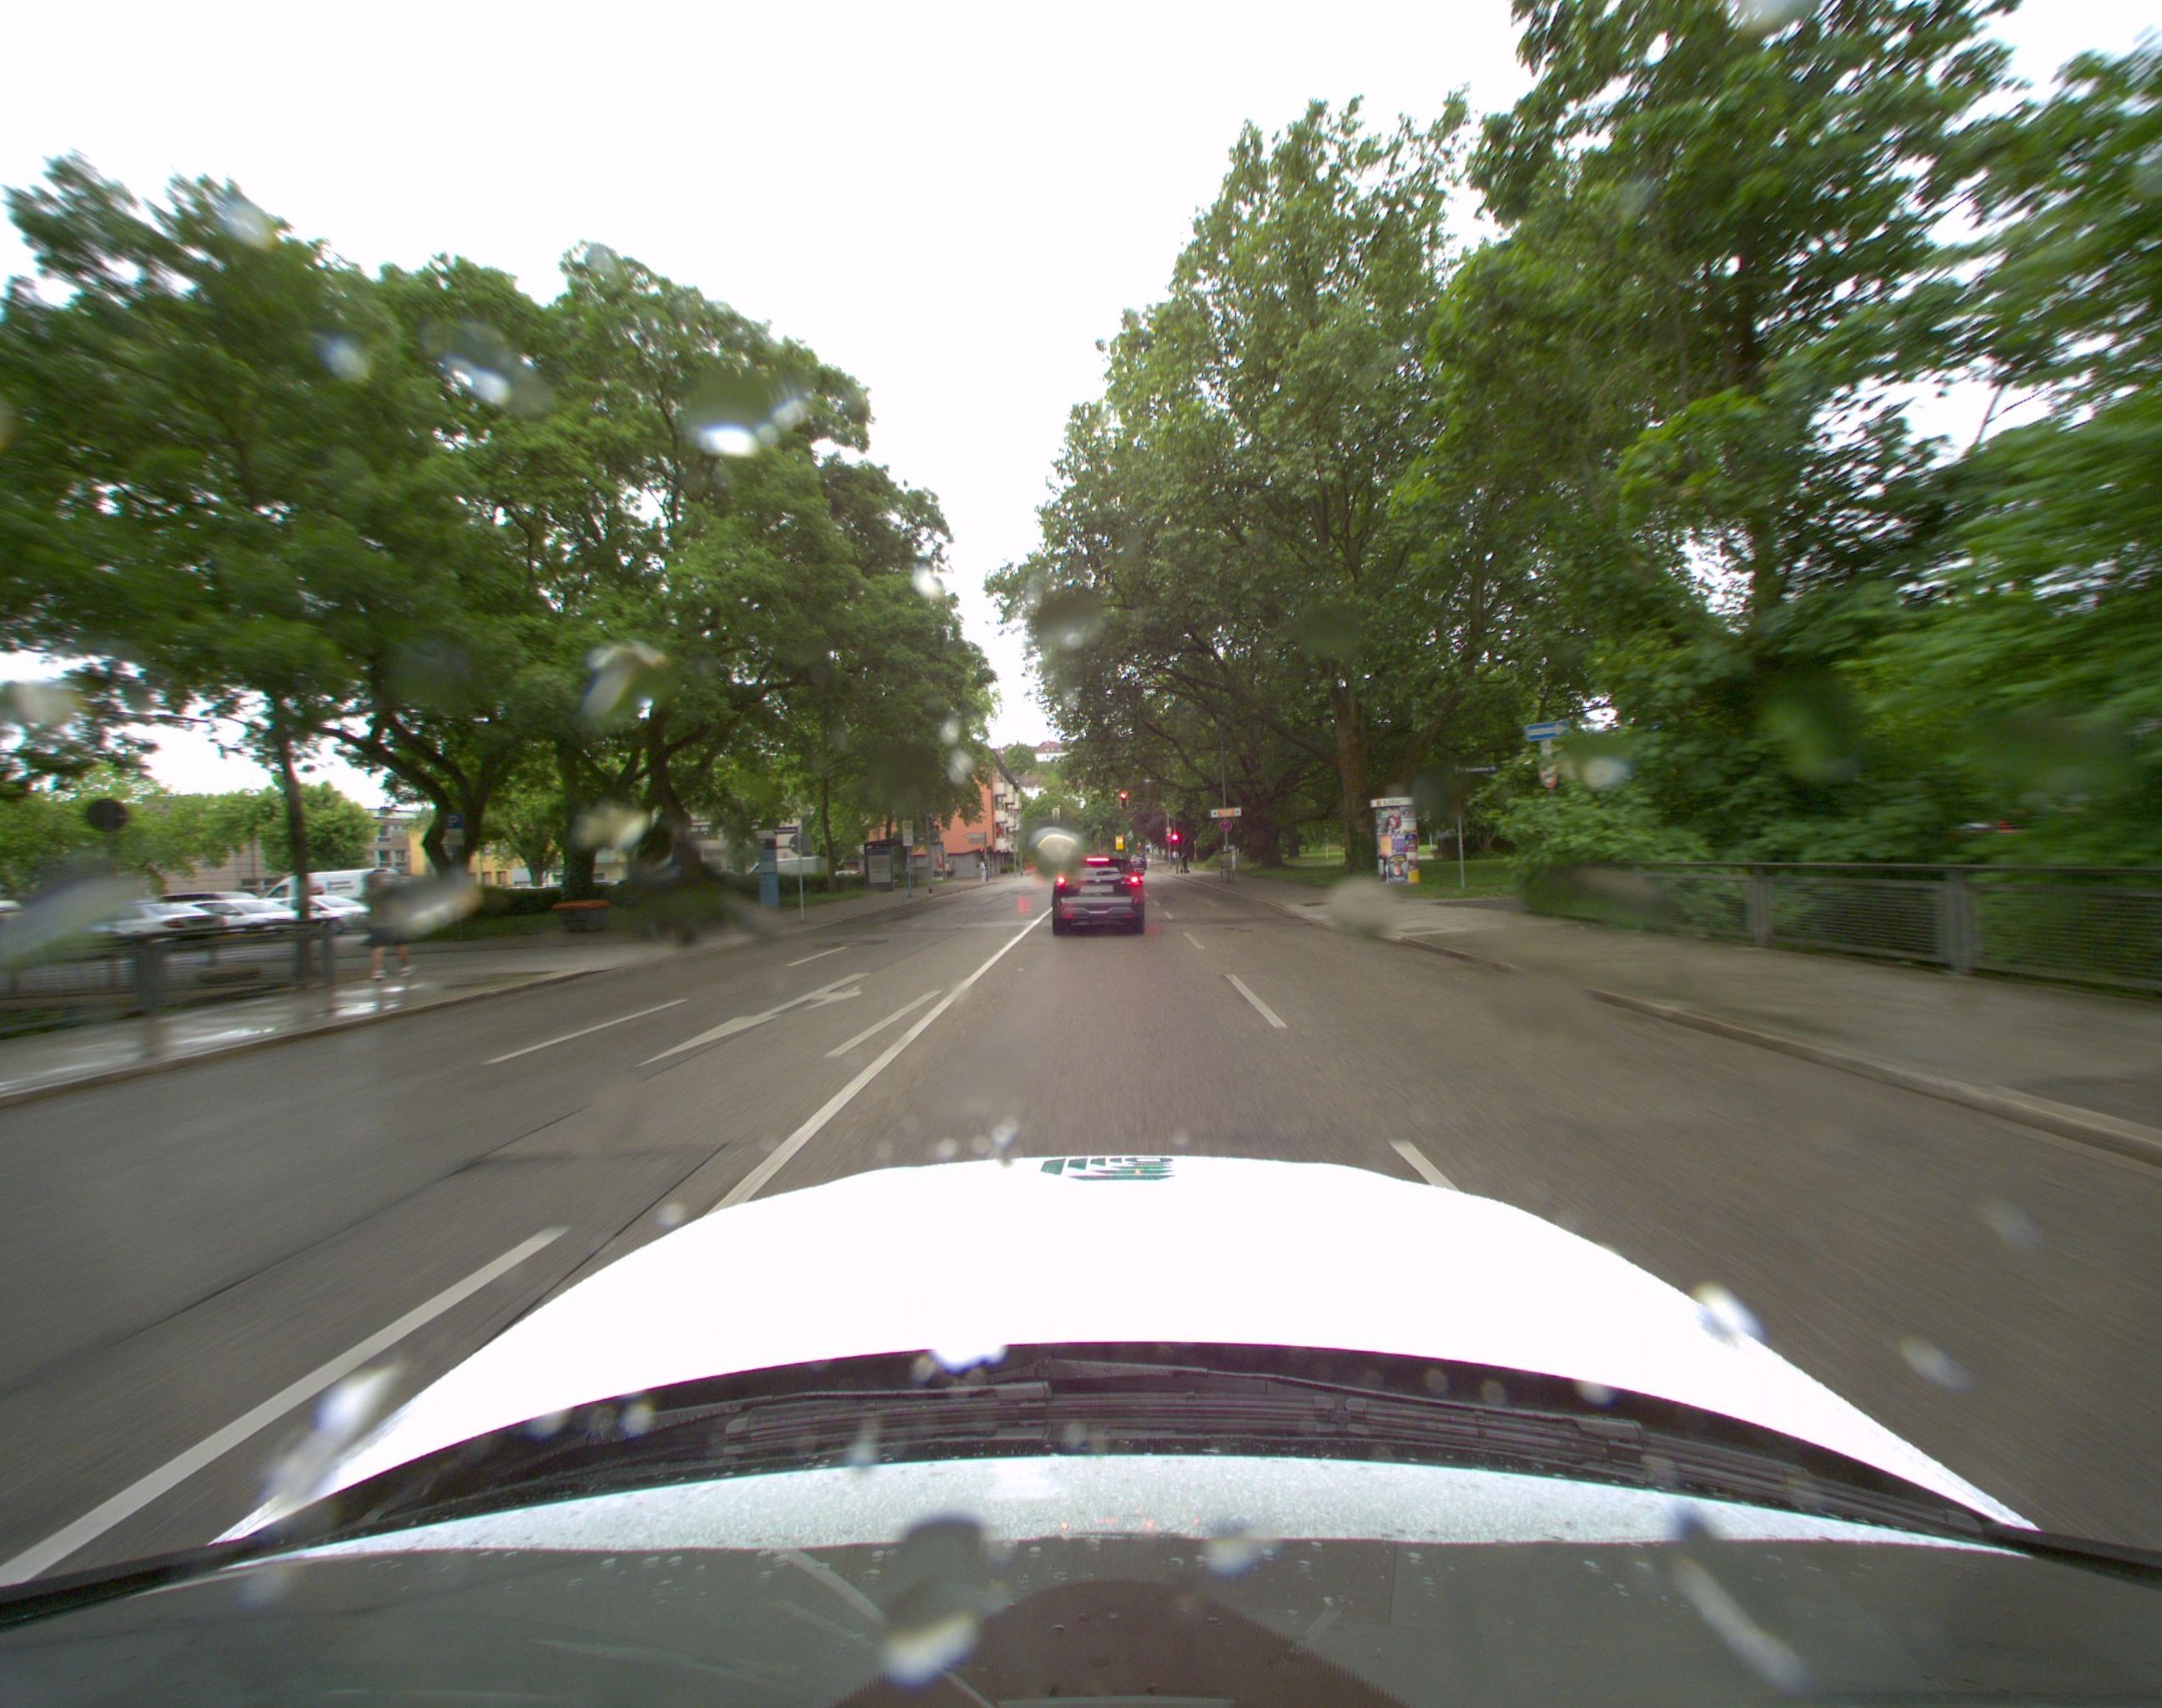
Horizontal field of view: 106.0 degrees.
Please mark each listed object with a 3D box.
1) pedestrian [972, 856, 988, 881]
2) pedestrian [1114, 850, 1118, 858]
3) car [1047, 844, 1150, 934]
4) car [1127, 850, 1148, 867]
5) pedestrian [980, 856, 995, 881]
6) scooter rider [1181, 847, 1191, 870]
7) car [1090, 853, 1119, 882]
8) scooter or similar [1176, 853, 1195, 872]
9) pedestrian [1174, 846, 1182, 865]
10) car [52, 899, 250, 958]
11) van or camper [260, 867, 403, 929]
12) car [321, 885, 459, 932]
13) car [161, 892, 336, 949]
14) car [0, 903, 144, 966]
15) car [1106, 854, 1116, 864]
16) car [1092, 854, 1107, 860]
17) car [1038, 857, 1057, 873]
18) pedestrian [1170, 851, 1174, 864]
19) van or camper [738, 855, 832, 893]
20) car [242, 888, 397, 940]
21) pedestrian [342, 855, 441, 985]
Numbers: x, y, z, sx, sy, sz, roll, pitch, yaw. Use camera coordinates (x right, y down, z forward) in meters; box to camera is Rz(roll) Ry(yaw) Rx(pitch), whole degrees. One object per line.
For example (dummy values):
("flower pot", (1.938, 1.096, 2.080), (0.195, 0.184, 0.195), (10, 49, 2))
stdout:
("pedestrian", (-7.665, 1.093, 61.765), (1.035, 1.876, 0.656), (-3, 0, -10))
("pedestrian", (7.507, -0.052, 176.384), (0.503, 1.673, 0.663), (-3, 0, 29))
("car", (0.400, 0.664, 17.323), (1.906, 1.680, 4.002), (-1, 0, 2))
("car", (5.933, 0.520, 85.639), (1.983, 1.735, 4.007), (0, -1, 7))
("pedestrian", (-7.213, 1.102, 62.726), (1.035, 1.876, 0.656), (-3, 0, -10))
("scooter rider", (8.330, 0.380, 64.835), (0.639, 1.766, 0.738), (-2, -2, 14))
("car", (1.531, 0.842, 52.441), (1.692, 1.745, 3.642), (-3, 0, 2))
("scooter or similar", (8.314, 0.708, 64.826), (1.384, 1.446, 0.820), (-3, -1, 14))
("pedestrian", (10.717, 0.147, 89.922), (0.722, 2.013, 0.852), (-3, 0, 2))
("car", (-28.251, 2.242, 24.827), (3.971, 1.463, 1.865), (-3, 0, 3))
("van or camper", (-32.663, 1.897, 35.586), (4.309, 2.431, 2.101), (-3, 0, 3))
("car", (-27.694, 2.159, 32.719), (3.971, 1.625, 1.865), (-3, 0, 3))
("car", (-28.062, 2.212, 27.542), (4.022, 1.625, 1.865), (-3, 0, 3))
("car", (-28.583, 2.216, 22.323), (3.617, 1.463, 1.864), (-3, 0, 2))
("car", (4.887, 0.853, 132.258), (1.628, 1.532, 3.969), (-3, 0, 2))
("car", (4.881, 0.828, 211.834), (3.973, 1.668, 1.702), (0, -1, 1))
("car", (-3.429, 1.155, 84.560), (1.791, 1.533, 3.865), (-3, 0, -2))
("pedestrian", (10.552, 0.435, 94.348), (0.388, 1.502, 0.559), (-3, -1, 2))
("van or camper", (-16.886, 1.111, 46.596), (4.582, 1.949, 1.999), (-2, 0, -1))
("car", (-27.858, 2.182, 29.878), (3.971, 1.625, 1.865), (-3, 0, 3))
("pedestrian", (-10.746, 1.005, 12.702), (0.908, 1.924, 0.824), (-3, 0, 26))
